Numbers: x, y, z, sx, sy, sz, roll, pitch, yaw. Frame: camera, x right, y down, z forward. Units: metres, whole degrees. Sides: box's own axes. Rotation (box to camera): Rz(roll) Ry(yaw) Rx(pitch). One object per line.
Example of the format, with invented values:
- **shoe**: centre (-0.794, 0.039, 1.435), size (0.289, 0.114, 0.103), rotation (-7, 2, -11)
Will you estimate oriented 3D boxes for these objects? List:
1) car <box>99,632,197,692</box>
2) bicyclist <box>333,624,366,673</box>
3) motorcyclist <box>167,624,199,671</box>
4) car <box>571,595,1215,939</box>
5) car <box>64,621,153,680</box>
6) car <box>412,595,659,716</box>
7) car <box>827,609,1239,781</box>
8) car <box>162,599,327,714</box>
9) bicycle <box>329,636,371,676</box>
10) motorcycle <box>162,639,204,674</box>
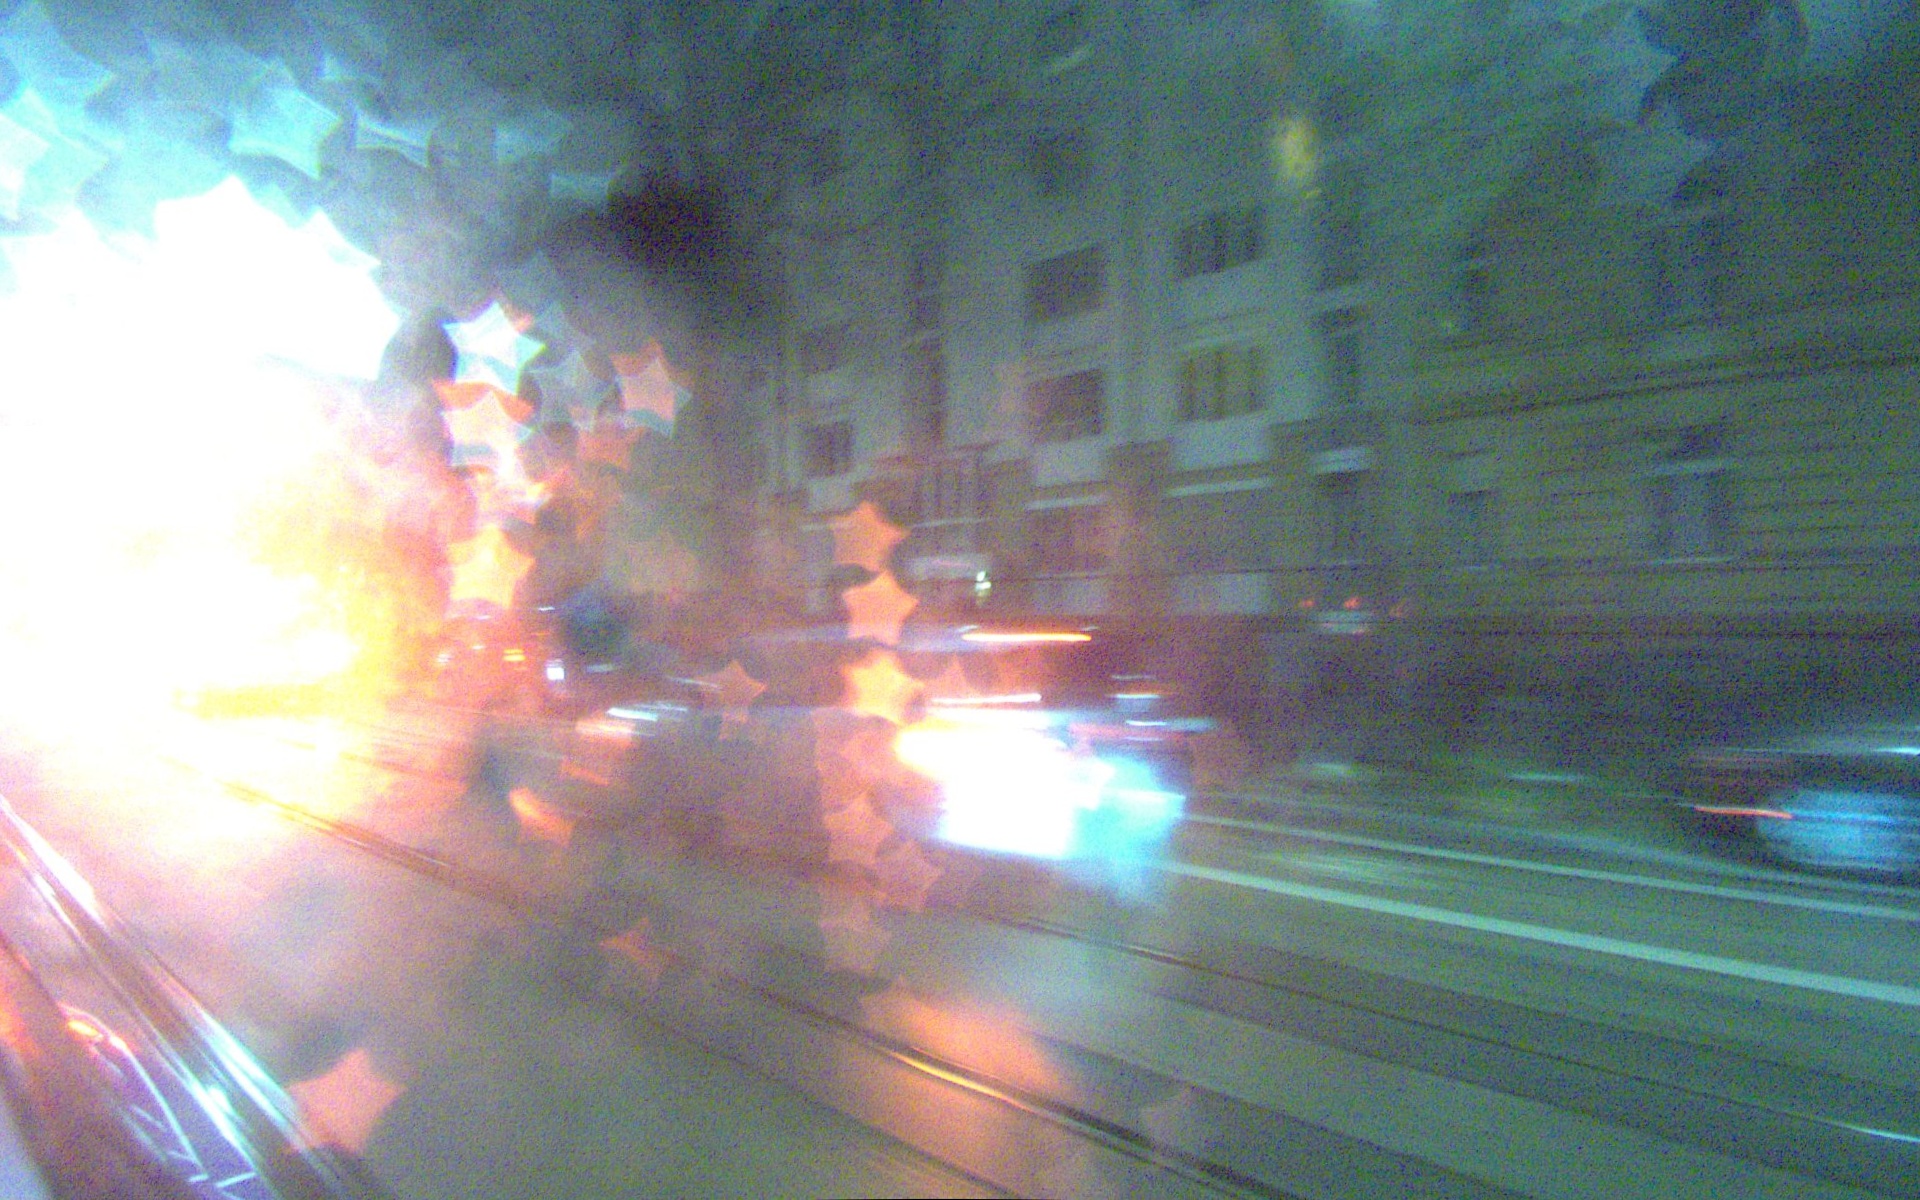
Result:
- **car**: centre (-22.265, 1.641, 27.706), size (1.771, 1.475, 3.904), rotation (0, -2, -44)
- **bicyclist**: centre (-19.343, 1.510, 32.042), size (0.868, 1.476, 0.647), rotation (0, 2, 44)
- **motorcyclist**: centre (-29.371, 1.791, 38.253), size (1.027, 1.744, 0.700), rotation (-1, -2, 39)
- **car**: centre (-0.682, 0.795, 6.436), size (4.205, 1.490, 1.633), rotation (-2, -3, 42)
- **car**: centre (-28.735, 1.637, 34.095), size (4.538, 1.883, 1.873), rotation (-1, -2, 45)
- **car**: centre (-7.915, 0.967, 18.593), size (5.306, 1.839, 1.973), rotation (-3, 1, 41)
- **car**: centre (0.654, 0.876, 10.865), size (4.137, 1.417, 1.748), rotation (-1, 1, 40)
- **car**: centre (-13.542, 1.024, 19.043), size (1.903, 1.894, 4.642), rotation (2, -3, -43)
- **bicycle**: centre (-19.335, 1.762, 32.046), size (1.898, 1.150, 0.647), rotation (0, 2, 45)
- **motorcycle**: centre (-29.380, 2.119, 38.244), size (2.323, 1.239, 0.700), rotation (-1, -2, 39)
